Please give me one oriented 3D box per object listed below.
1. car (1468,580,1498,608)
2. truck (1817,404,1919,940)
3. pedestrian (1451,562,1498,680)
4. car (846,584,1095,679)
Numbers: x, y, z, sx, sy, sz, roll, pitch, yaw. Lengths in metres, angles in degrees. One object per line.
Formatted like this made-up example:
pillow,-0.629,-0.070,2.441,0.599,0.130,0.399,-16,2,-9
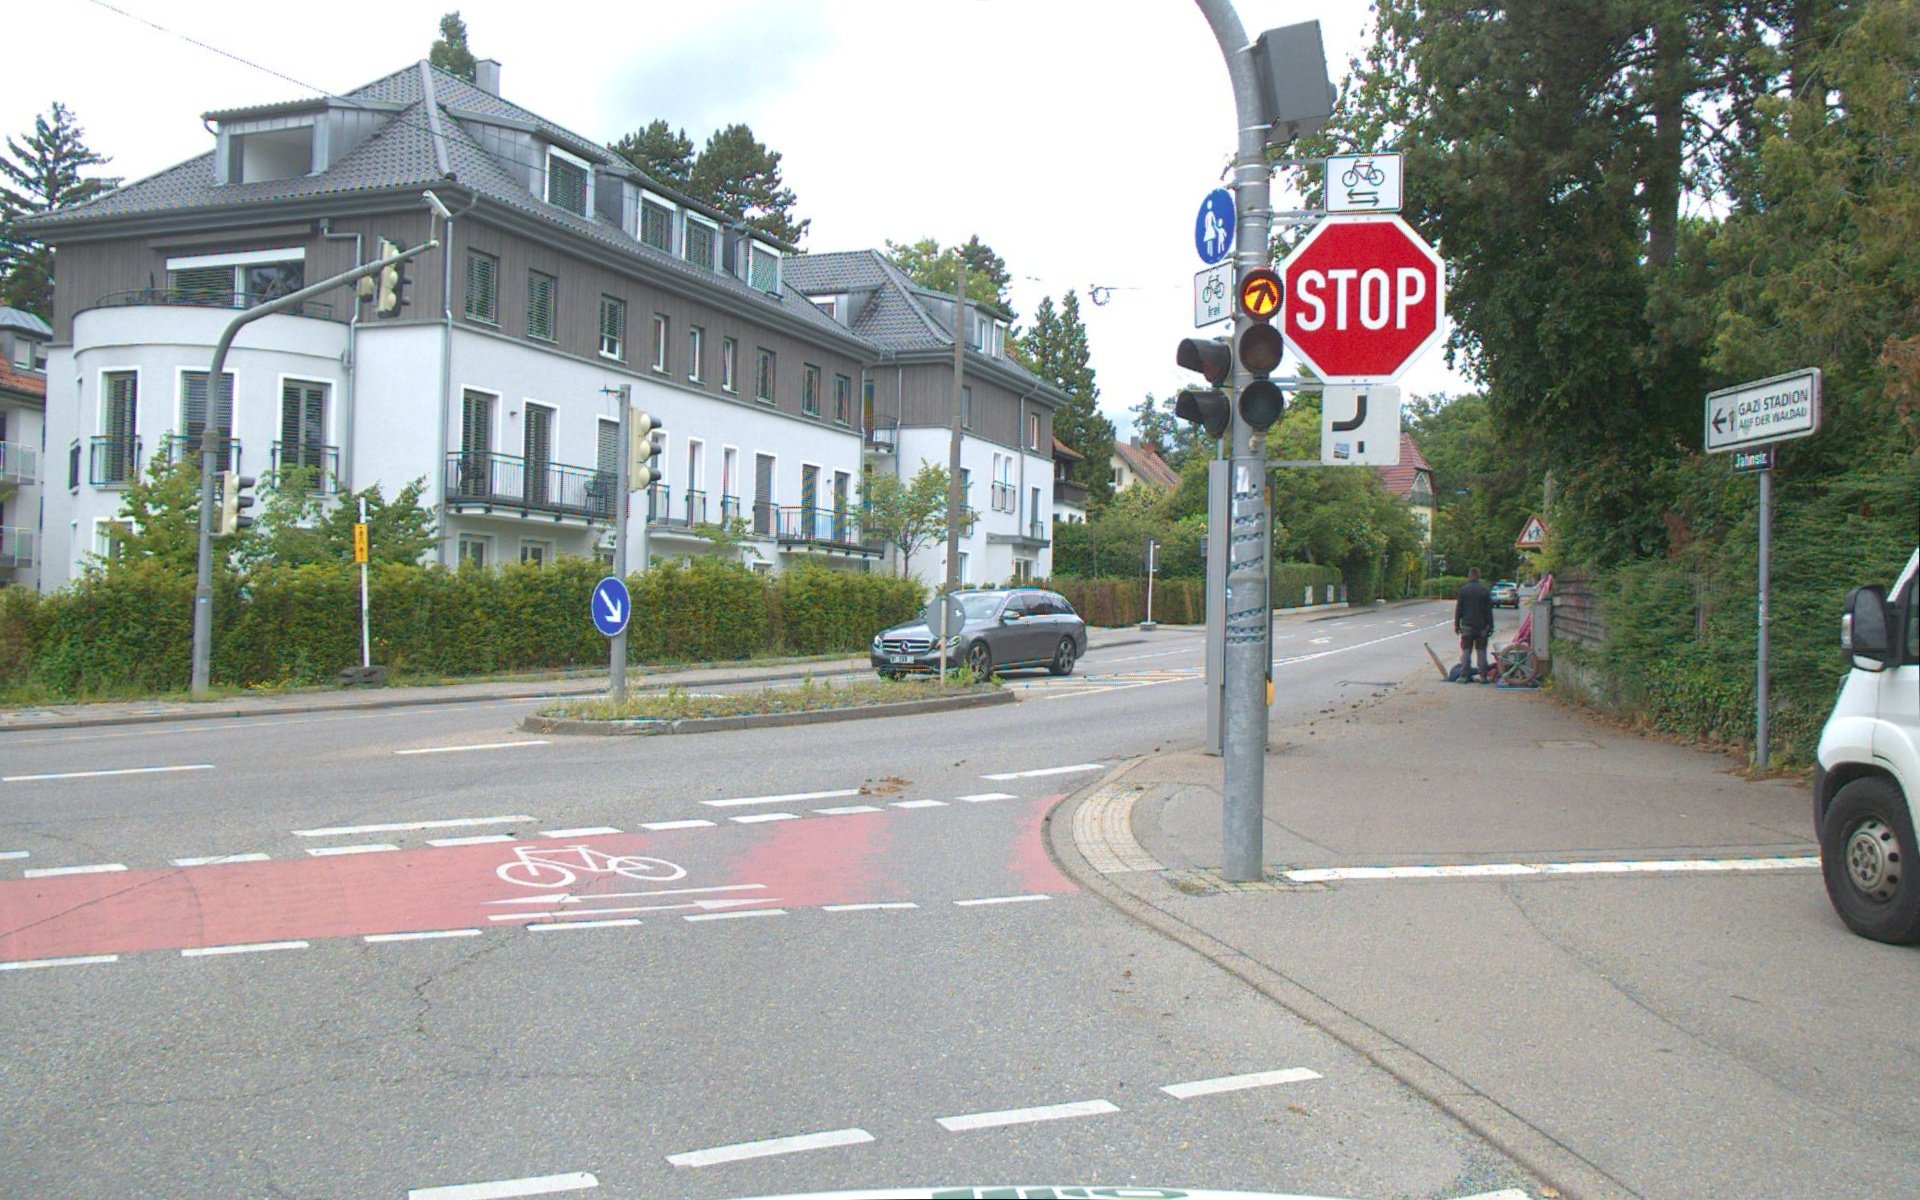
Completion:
car,34.221,-0.374,108.178,1.770,1.784,4.488,-1,0,19
truck,5.133,0.322,5.024,2.162,2.283,5.724,1,0,1
pedestrian,8.560,0.346,27.526,0.584,1.940,0.558,1,0,0
car,0.285,0.464,27.775,1.905,1.428,4.728,1,1,34
